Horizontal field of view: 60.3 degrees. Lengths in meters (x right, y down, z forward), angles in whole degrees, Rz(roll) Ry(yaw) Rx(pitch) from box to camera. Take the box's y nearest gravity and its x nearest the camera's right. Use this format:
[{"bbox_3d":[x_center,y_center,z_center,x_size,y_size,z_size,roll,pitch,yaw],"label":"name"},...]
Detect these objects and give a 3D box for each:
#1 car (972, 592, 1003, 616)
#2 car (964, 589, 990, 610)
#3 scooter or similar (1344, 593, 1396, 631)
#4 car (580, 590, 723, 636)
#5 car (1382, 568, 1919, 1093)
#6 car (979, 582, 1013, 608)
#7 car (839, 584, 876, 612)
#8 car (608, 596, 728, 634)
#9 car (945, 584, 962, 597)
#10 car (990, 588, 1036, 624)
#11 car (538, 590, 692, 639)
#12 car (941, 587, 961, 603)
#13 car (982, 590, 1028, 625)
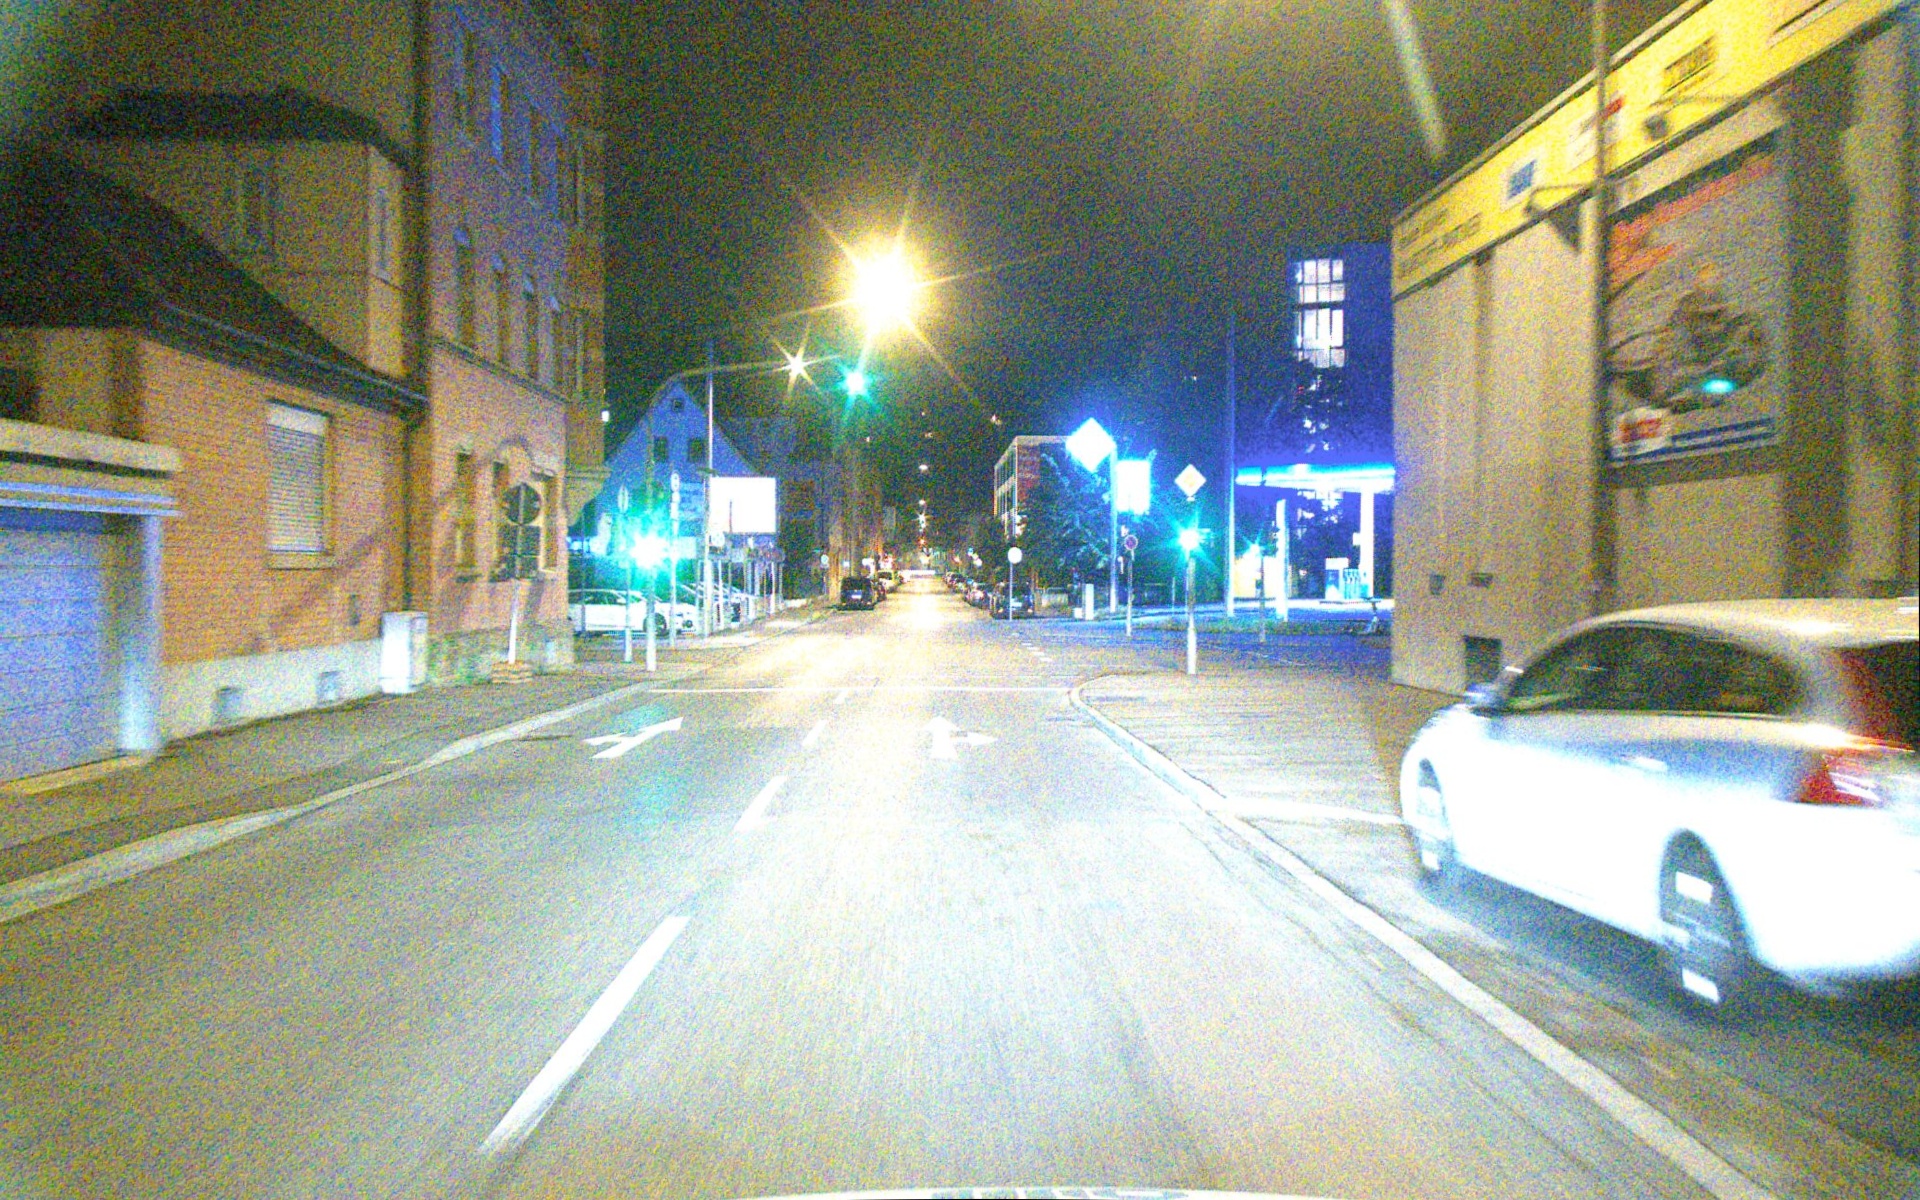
[{"bbox_3d":[1.764,0.267,106.216,1.952,1.546,4.000,0,0,0],"label":"car"},{"bbox_3d":[1.261,-0.033,123.494,1.952,1.546,4.000,0,0,0],"label":"car"},{"bbox_3d":[12.677,0.363,51.085,1.664,1.111,0.706,-1,1,-39],"label":"scooter or similar"},{"bbox_3d":[-10.074,0.437,54.296,4.350,1.475,1.999,0,0,-3],"label":"car"},{"bbox_3d":[3.422,0.680,7.106,1.823,1.515,4.543,0,0,-4],"label":"car"},{"bbox_3d":[2.125,-0.294,99.181,1.952,1.546,4.000,0,0,0],"label":"car"},{"bbox_3d":[-5.777,-0.087,93.576,1.953,1.528,3.999,0,0,-1],"label":"car"},{"bbox_3d":[-11.362,0.581,64.536,4.349,1.475,1.999,0,0,-2],"label":"car"},{"bbox_3d":[-0.737,-1.098,194.493,1.952,1.546,4.000,0,0,0],"label":"car"},{"bbox_3d":[2.398,0.254,75.312,1.952,1.543,4.000,1,0,0],"label":"car"},{"bbox_3d":[-10.587,0.445,51.024,4.349,1.475,1.999,0,0,-2],"label":"car"},{"bbox_3d":[-0.907,-0.501,171.434,1.952,1.546,4.000,0,0,0],"label":"car"},{"bbox_3d":[2.162,0.343,80.345,1.953,1.623,3.998,1,0,-2],"label":"car"}]
